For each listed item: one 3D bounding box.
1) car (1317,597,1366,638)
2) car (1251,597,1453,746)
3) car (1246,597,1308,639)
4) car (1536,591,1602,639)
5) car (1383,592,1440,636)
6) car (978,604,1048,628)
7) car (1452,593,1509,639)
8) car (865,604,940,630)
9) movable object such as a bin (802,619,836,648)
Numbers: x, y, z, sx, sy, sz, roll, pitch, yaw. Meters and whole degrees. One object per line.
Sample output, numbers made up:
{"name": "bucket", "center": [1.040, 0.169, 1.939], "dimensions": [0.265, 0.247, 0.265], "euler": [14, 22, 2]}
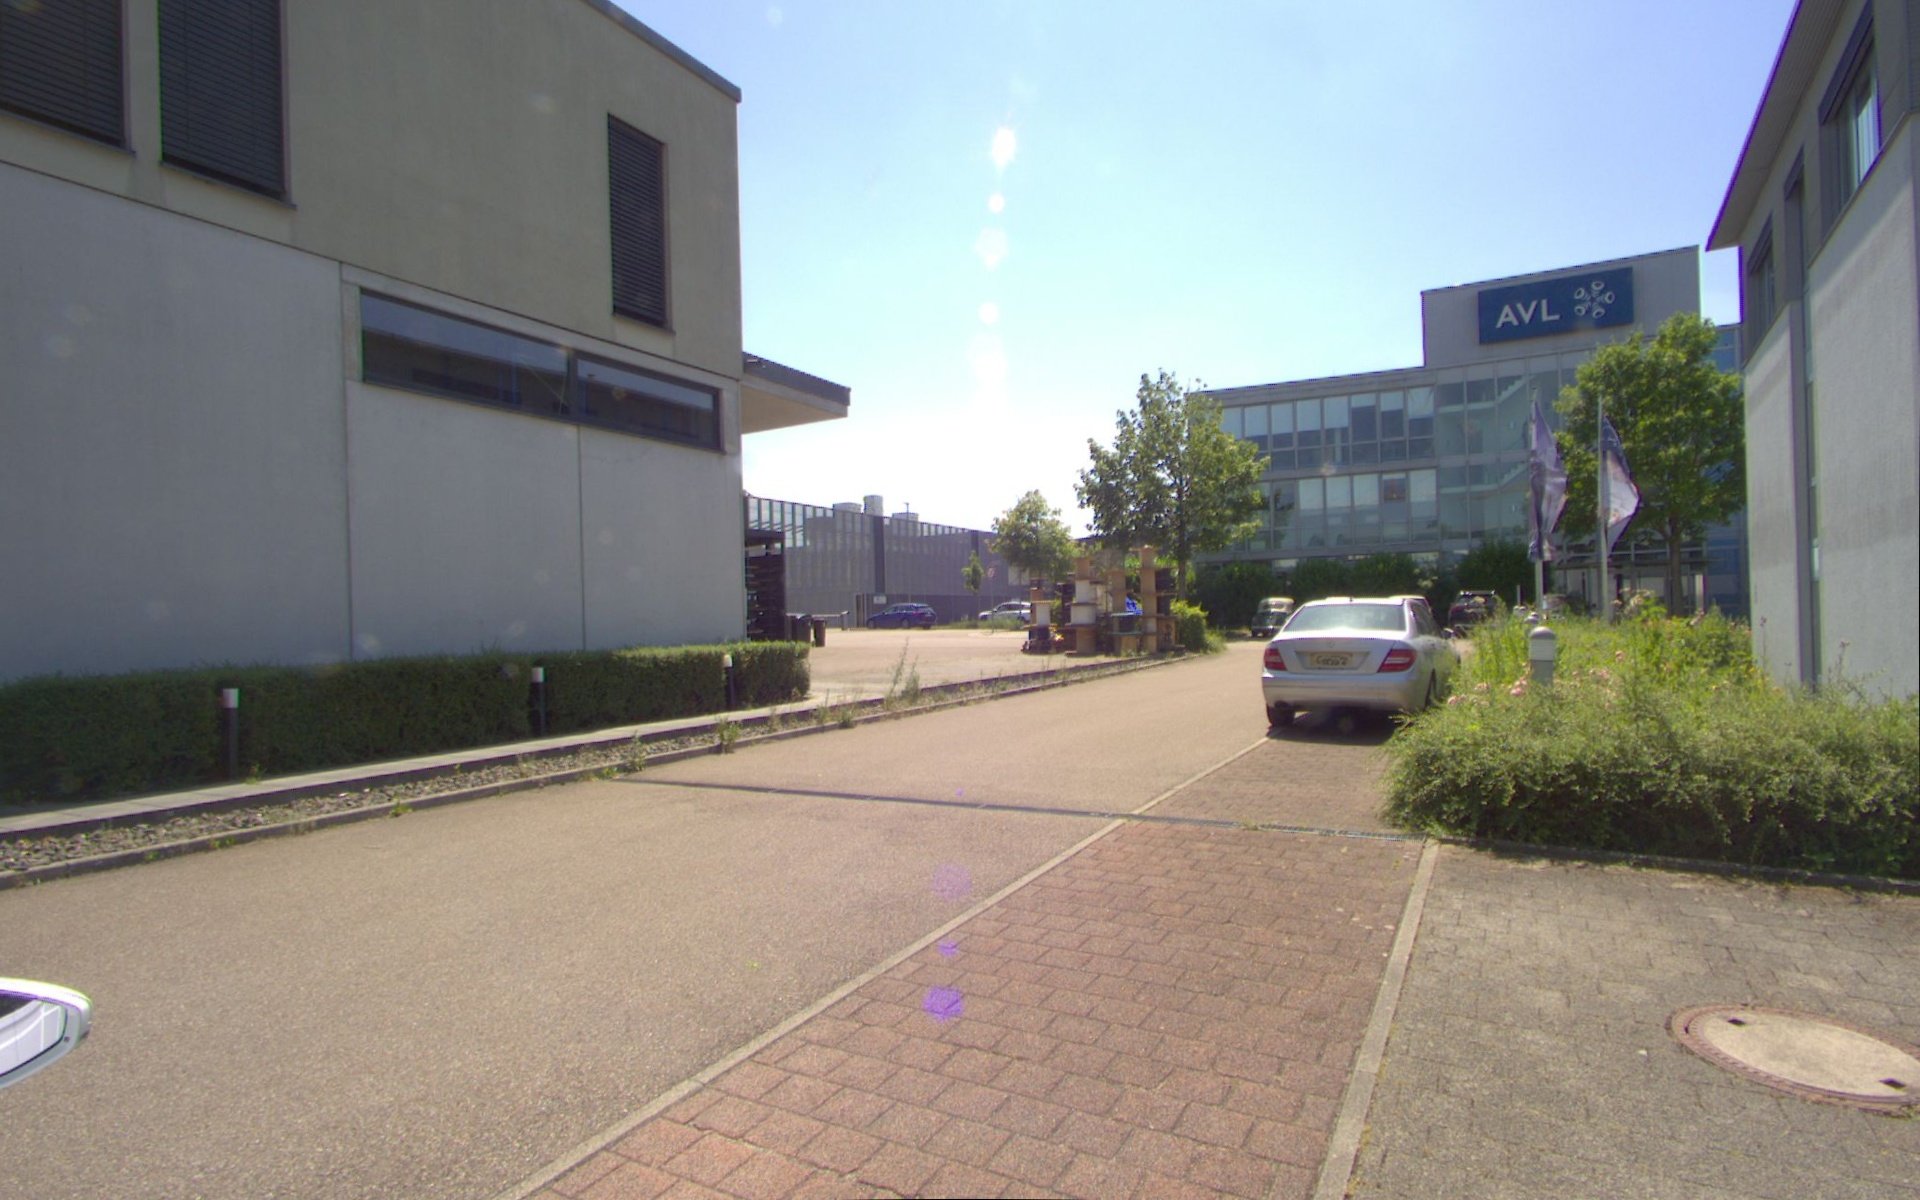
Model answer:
{"name": "car", "center": [14.420, 0.683, 37.767], "dimensions": [1.646, 1.459, 3.991], "euler": [-1, -1, 22]}
{"name": "car", "center": [4.746, 0.740, 11.832], "dimensions": [1.704, 1.455, 3.700], "euler": [-1, -1, 30]}
{"name": "car", "center": [12.287, 0.691, 38.695], "dimensions": [1.721, 1.538, 3.987], "euler": [-1, -1, 26]}
{"name": "car", "center": [20.731, 0.511, 34.214], "dimensions": [1.723, 1.538, 3.984], "euler": [-1, -1, 29]}
{"name": "car", "center": [16.702, 0.547, 37.184], "dimensions": [1.720, 1.538, 3.991], "euler": [-1, -1, 22]}
{"name": "car", "center": [3.378, 1.047, 63.912], "dimensions": [4.399, 1.433, 1.735], "euler": [-1, -2, 42]}
{"name": "car", "center": [18.563, 0.576, 35.667], "dimensions": [1.723, 1.538, 3.984], "euler": [-1, -1, 29]}
{"name": "car", "center": [-3.295, 1.002, 56.812], "dimensions": [4.401, 1.433, 1.734], "euler": [-1, -2, 44]}
{"name": "movable object such as a bin", "center": [-4.802, 1.133, 34.094], "dimensions": [0.805, 0.993, 0.807], "euler": [-1, -1, 29]}
